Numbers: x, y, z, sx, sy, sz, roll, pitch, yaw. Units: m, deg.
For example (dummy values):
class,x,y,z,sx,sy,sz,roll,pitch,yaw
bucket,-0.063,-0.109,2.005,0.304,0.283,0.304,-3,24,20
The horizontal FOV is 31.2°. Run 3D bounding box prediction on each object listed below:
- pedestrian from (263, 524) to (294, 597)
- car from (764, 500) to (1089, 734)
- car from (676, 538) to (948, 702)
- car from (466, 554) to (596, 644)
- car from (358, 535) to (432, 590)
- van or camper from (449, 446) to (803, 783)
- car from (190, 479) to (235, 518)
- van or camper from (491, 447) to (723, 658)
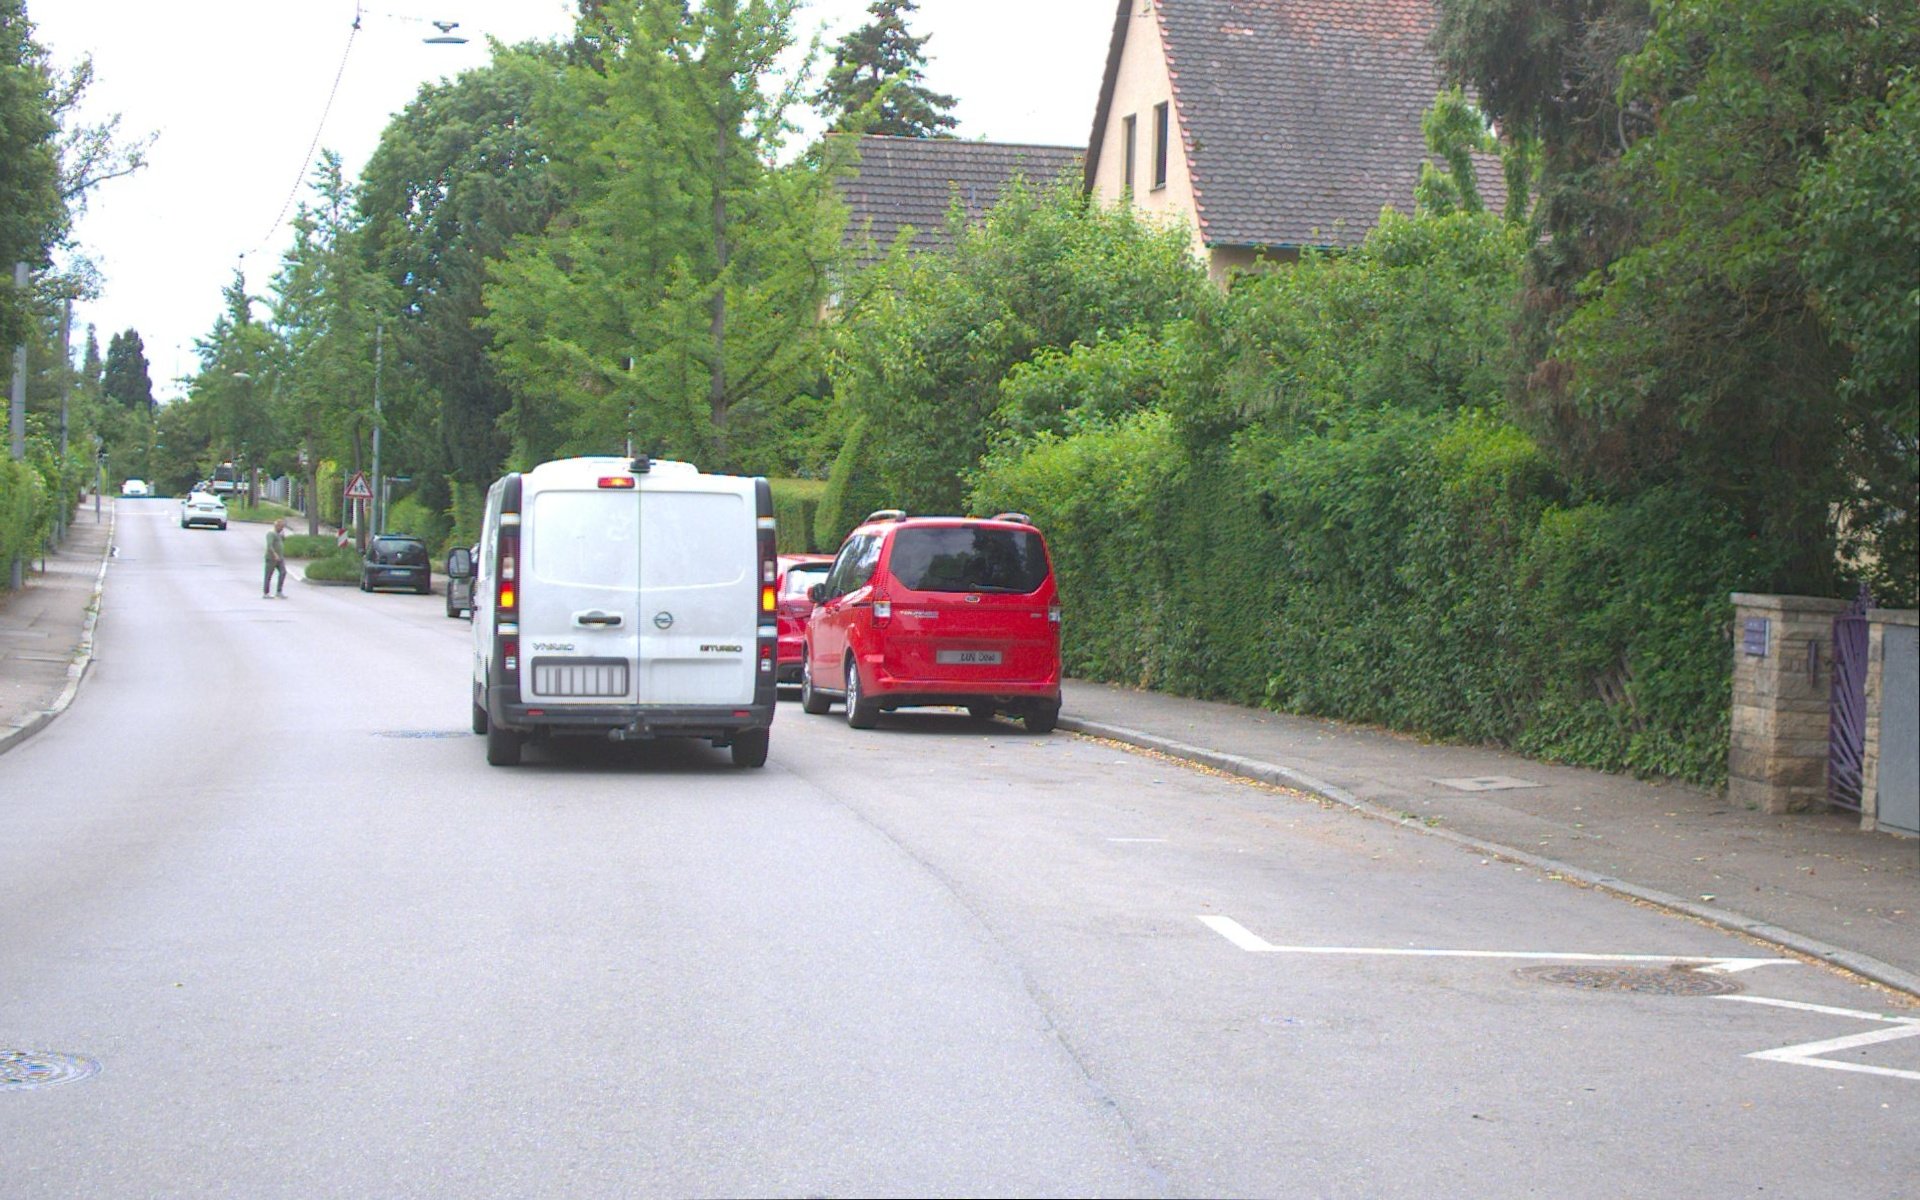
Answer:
class,x,y,z,sx,sy,sz,roll,pitch,yaw
pedestrian,-14.829,-0.855,74.809,0.555,1.554,0.553,2,3,-3
car,-0.394,0.075,29.482,1.760,1.791,4.950,2,1,-12
car,-1.559,0.159,34.537,1.712,1.462,4.269,2,1,-16
car,-7.010,-0.042,55.927,1.530,1.300,4.032,2,1,-15
car,-14.391,-0.958,87.494,1.530,1.300,3.229,2,1,-15
van or camper,-2.450,0.000,24.062,1.923,2.006,4.831,2,3,-11
car,-33.947,-4.613,156.022,1.775,1.645,3.646,1,3,-15
van or camper,-5.025,-0.684,48.003,2.066,2.665,6.330,2,1,-16
